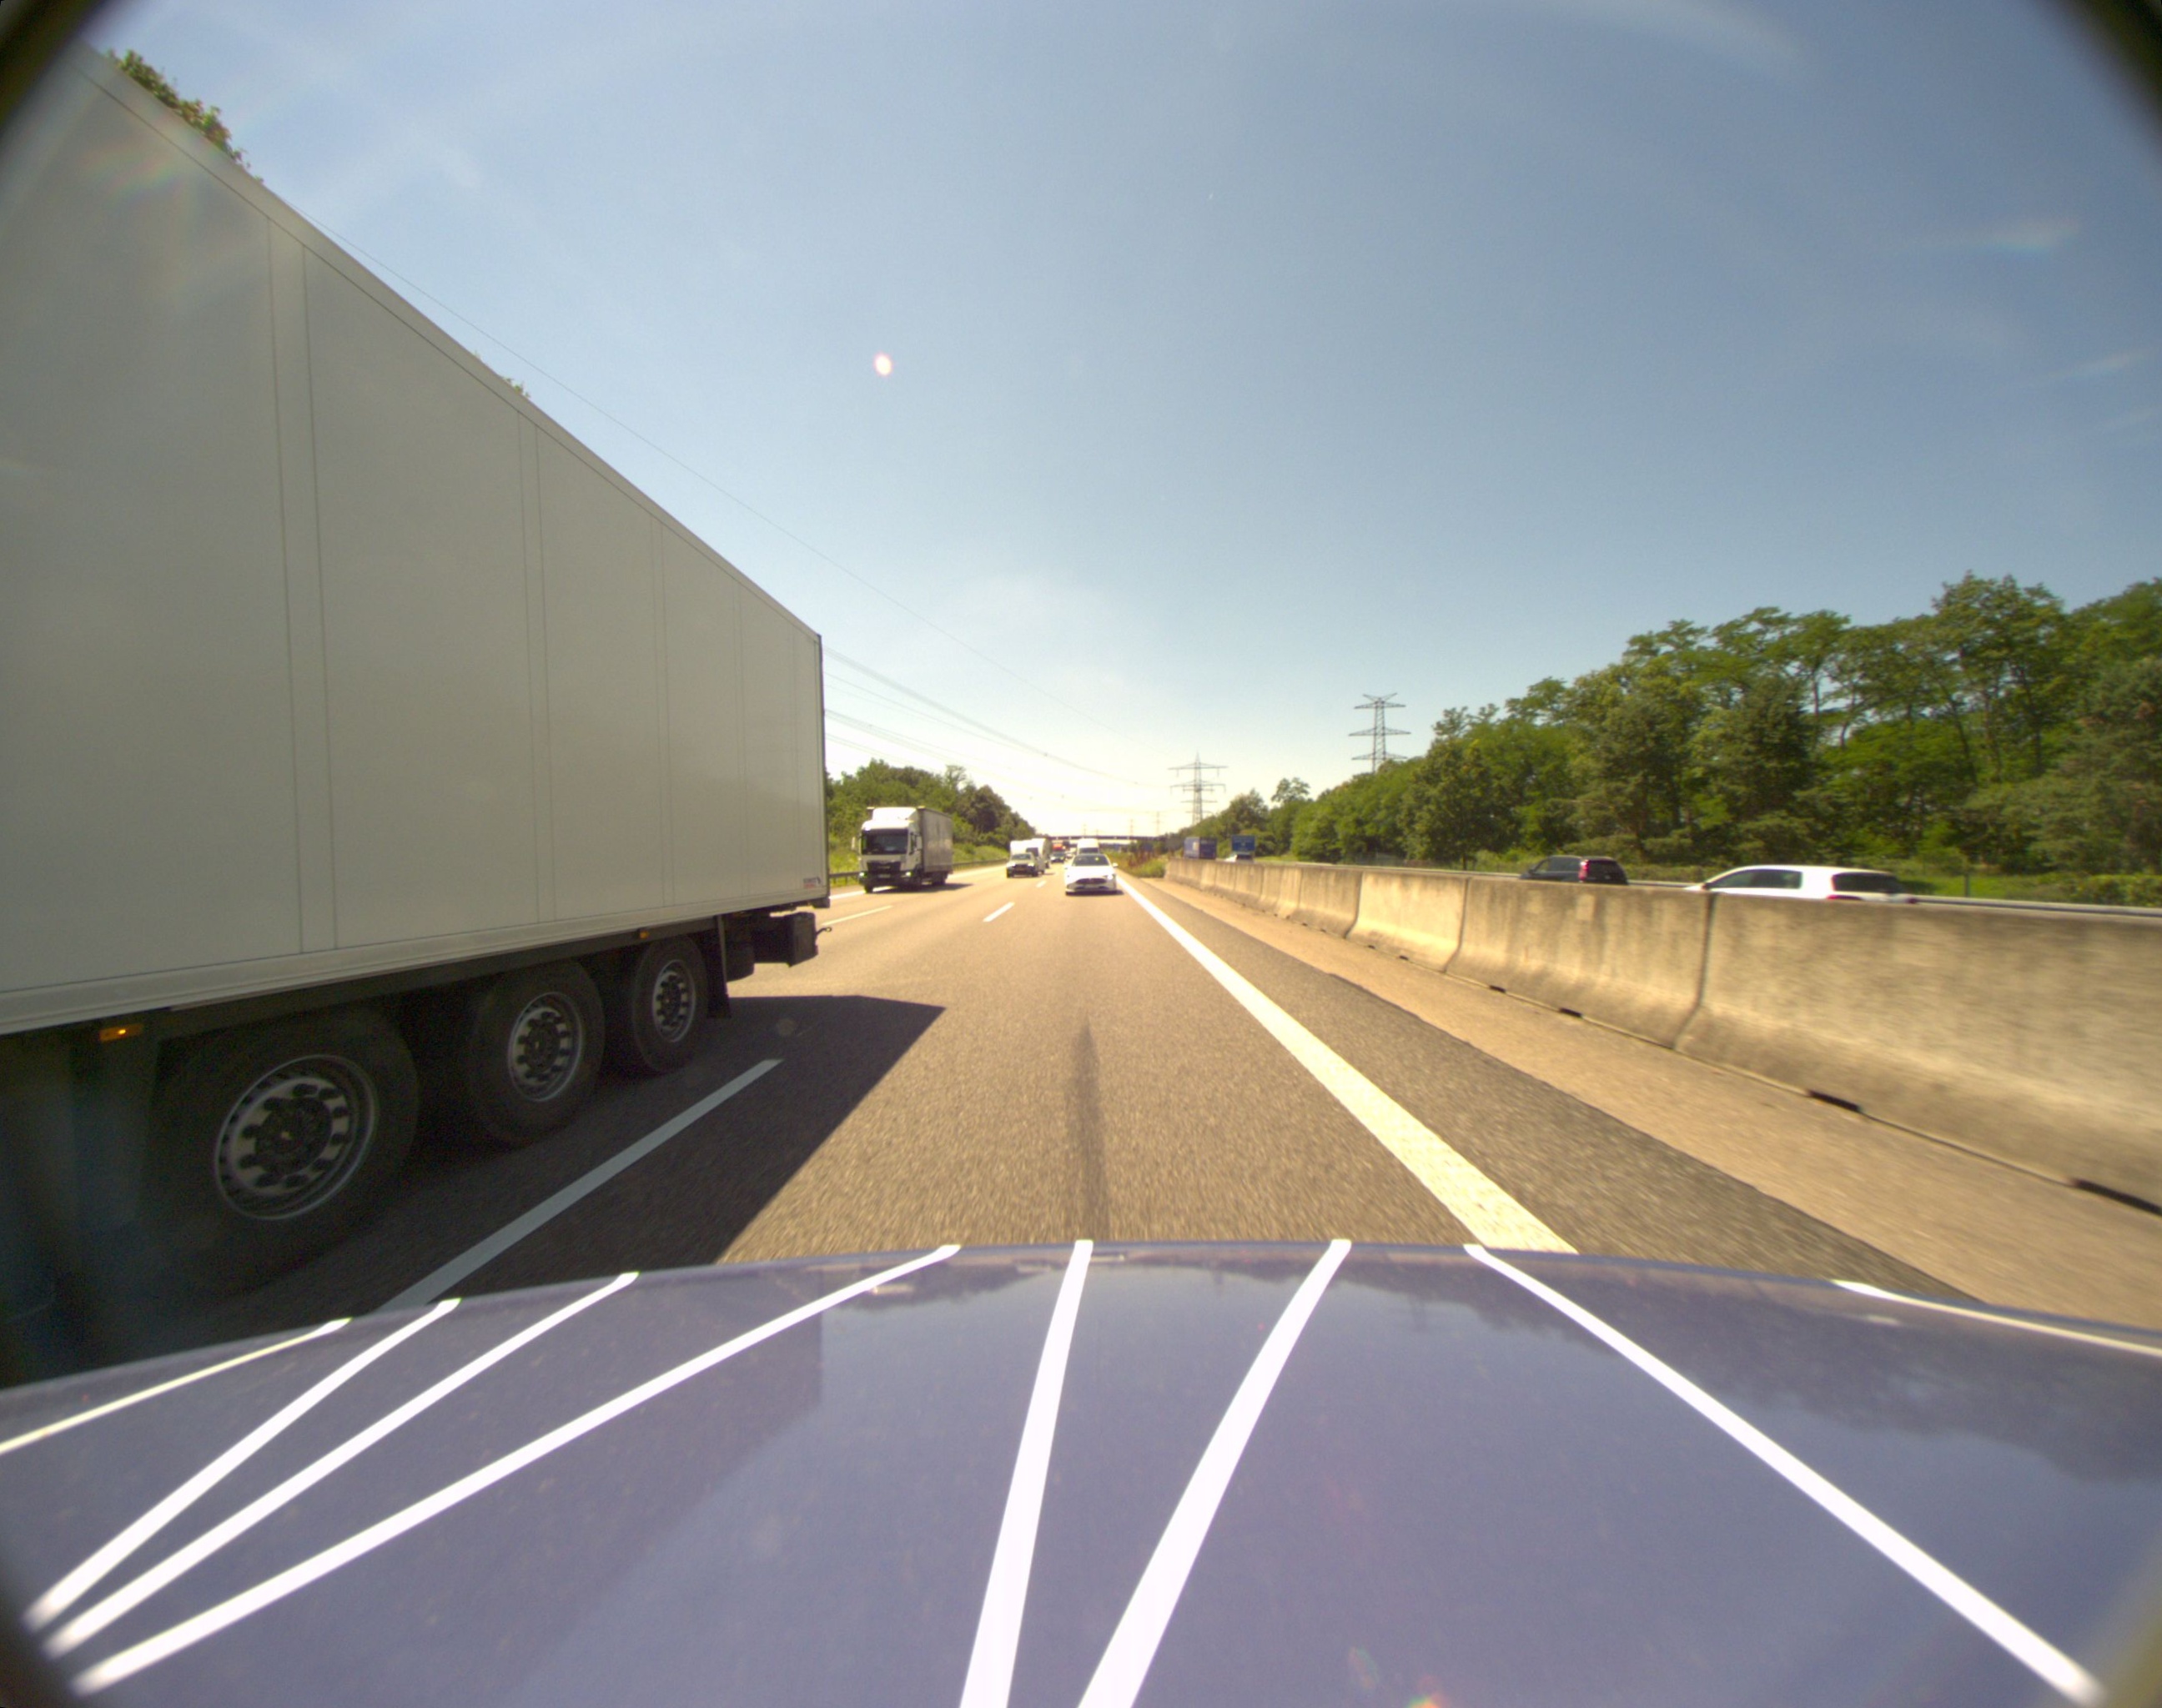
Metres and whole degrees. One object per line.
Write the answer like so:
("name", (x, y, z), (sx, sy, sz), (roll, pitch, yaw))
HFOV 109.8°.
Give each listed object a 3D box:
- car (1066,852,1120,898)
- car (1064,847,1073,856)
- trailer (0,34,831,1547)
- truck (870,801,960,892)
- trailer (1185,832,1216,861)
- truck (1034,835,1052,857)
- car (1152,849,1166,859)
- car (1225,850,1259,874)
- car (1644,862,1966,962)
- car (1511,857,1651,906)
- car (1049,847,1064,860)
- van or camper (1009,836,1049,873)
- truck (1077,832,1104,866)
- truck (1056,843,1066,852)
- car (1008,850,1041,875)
("car", (0.430, 0.715, 28.057), (1.788, 1.462, 3.999), (-2, 1, 0))
("car", (-2.714, -0.522, 165.366), (1.998, 2.002, 4.000), (0, 1, 1))
("trailer", (-4.331, -0.144, 0.190), (2.945, 3.995, 16.198), (-2, 1, 0))
("truck", (-7.766, -0.335, 36.922), (1.987, 3.750, 10.042), (-1, 0, 0))
("trailer", (18.063, -1.132, 115.567), (2.478, 4.107, 13.464), (2, 1, 0))
("truck", (-6.747, -1.458, 134.818), (2.584, 3.704, 8.279), (-2, 1, 0))
("car", (12.096, -0.026, 118.220), (1.758, 1.430, 4.543), (2, 0, 1))
("car", (14.202, 0.685, 67.347), (1.998, 2.002, 4.938), (2, 1, 1))
("car", (13.574, 0.971, 14.763), (1.778, 1.529, 4.683), (1, 0, 1))
("car", (17.884, 0.929, 27.513), (1.998, 1.549, 4.683), (1, 0, 1))
("car", (-3.507, -0.065, 107.942), (1.904, 1.662, 4.000), (-1, 0, 0))
("van or camper", (-3.722, 0.023, 55.428), (2.411, 2.483, 6.431), (-1, 0, 0))
("truck", (0.834, -0.442, 67.913), (2.192, 2.841, 5.503), (-2, 0, 0))
("truck", (-6.023, -1.934, 228.520), (2.619, 2.801, 6.593), (0, 0, 0))
("car", (-3.670, 0.528, 50.146), (1.788, 1.520, 4.104), (-1, 0, 0))
